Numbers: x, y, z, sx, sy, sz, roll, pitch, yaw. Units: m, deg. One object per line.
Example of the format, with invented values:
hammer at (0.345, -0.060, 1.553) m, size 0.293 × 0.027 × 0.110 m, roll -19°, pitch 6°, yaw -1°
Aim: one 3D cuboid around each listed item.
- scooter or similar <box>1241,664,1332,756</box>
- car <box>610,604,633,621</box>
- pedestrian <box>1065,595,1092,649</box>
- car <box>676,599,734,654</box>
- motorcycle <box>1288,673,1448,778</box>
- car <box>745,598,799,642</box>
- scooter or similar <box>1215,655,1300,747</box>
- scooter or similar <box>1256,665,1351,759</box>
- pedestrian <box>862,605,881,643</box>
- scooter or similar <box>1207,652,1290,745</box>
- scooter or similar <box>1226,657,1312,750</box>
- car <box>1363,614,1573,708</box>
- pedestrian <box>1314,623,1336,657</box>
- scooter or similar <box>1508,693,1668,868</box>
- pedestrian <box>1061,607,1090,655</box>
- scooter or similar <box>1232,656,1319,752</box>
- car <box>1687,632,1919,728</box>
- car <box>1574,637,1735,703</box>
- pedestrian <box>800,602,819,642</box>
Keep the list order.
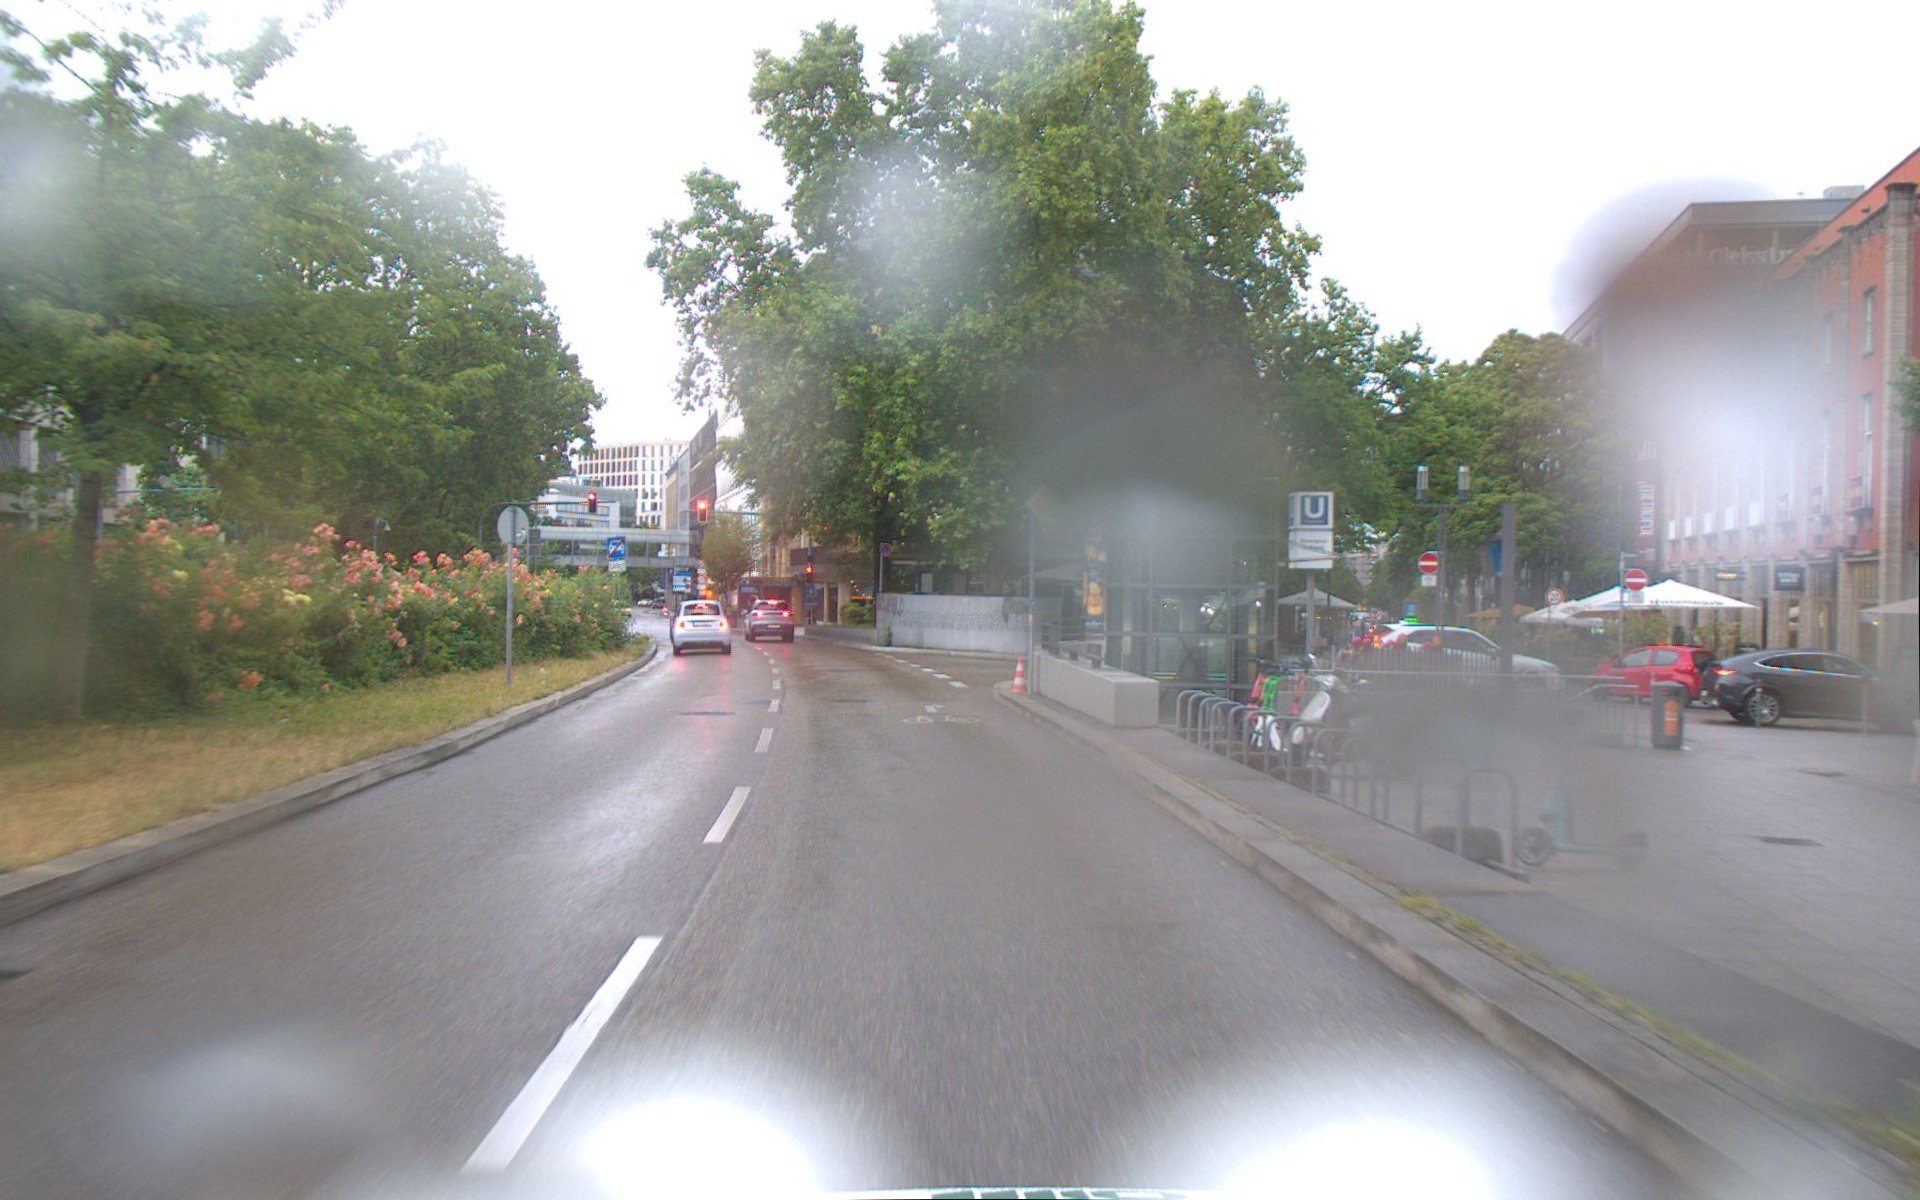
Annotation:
scooter or similar at (4.393, 1.476, 22.275) m, size 1.091 × 1.178 × 0.443 m, roll 2°, pitch 0°, yaw -6°
car at (-31.212, 1.159, 152.435) m, size 1.944 × 1.489 × 4.330 m, roll -1°, pitch 0°, yaw -13°
pedestrian at (3.868, 0.718, 53.951) m, size 0.707 × 1.731 × 0.618 m, roll 0°, pitch -1°, yaw 21°
car at (-7.516, 0.761, 48.570) m, size 1.561 × 1.517 × 3.496 m, roll -1°, pitch 0°, yaw -10°
motorcycle at (4.892, 1.502, 19.897) m, size 1.742 × 1.178 × 0.607 m, roll 2°, pitch 0°, yaw -6°
car at (-7.685, 0.800, 67.359) m, size 1.911 × 1.695 × 4.334 m, roll 1°, pitch -1°, yaw -10°
scooter or similar at (4.225, 1.430, 23.509) m, size 1.091 × 1.256 × 0.364 m, roll 2°, pitch 0°, yaw -6°
scooter or similar at (4.519, 1.470, 21.769) m, size 1.091 × 1.178 × 0.531 m, roll 2°, pitch 0°, yaw -6°
pedestrian at (-4.310, 1.174, 80.269) m, size 0.842 × 1.811 × 0.716 m, roll 1°, pitch -1°, yaw -7°
scooter or similar at (4.167, 1.415, 23.912) m, size 1.091 × 1.291 × 0.364 m, roll 2°, pitch 0°, yaw -6°
scooter or similar at (4.311, 1.443, 23.112) m, size 1.091 × 1.237 × 0.364 m, roll 2°, pitch 0°, yaw -6°
car at (10.884, 1.295, 35.712) m, size 4.010 × 1.649 × 1.864 m, roll 4°, pitch -1°, yaw 8°
pedestrian at (14.024, 1.547, 63.508) m, size 0.616 × 1.272 × 0.609 m, roll 3°, pitch -1°, yaw -6°
scooter or similar at (4.895, 1.396, 12.901) m, size 1.072 × 1.294 × 0.479 m, roll 2°, pitch 0°, yaw -16°
pedestrian at (3.570, 0.965, 51.197) m, size 0.671 × 1.435 × 0.904 m, roll 3°, pitch -1°, yaw -6°
scooter or similar at (4.331, 1.427, 22.714) m, size 1.091 × 1.258 × 0.364 m, roll 2°, pitch 0°, yaw -6°
car at (17.832, 1.638, 34.367) m, size 4.634 × 1.720 × 2.006 m, roll 2°, pitch 0°, yaw 13°
car at (17.543, 1.751, 41.894) m, size 1.592 × 1.440 × 3.493 m, roll 3°, pitch 0°, yaw -31°
pedestrian at (-6.996, 1.026, 76.940) m, size 0.842 × 1.811 × 0.716 m, roll 1°, pitch -1°, yaw -7°
